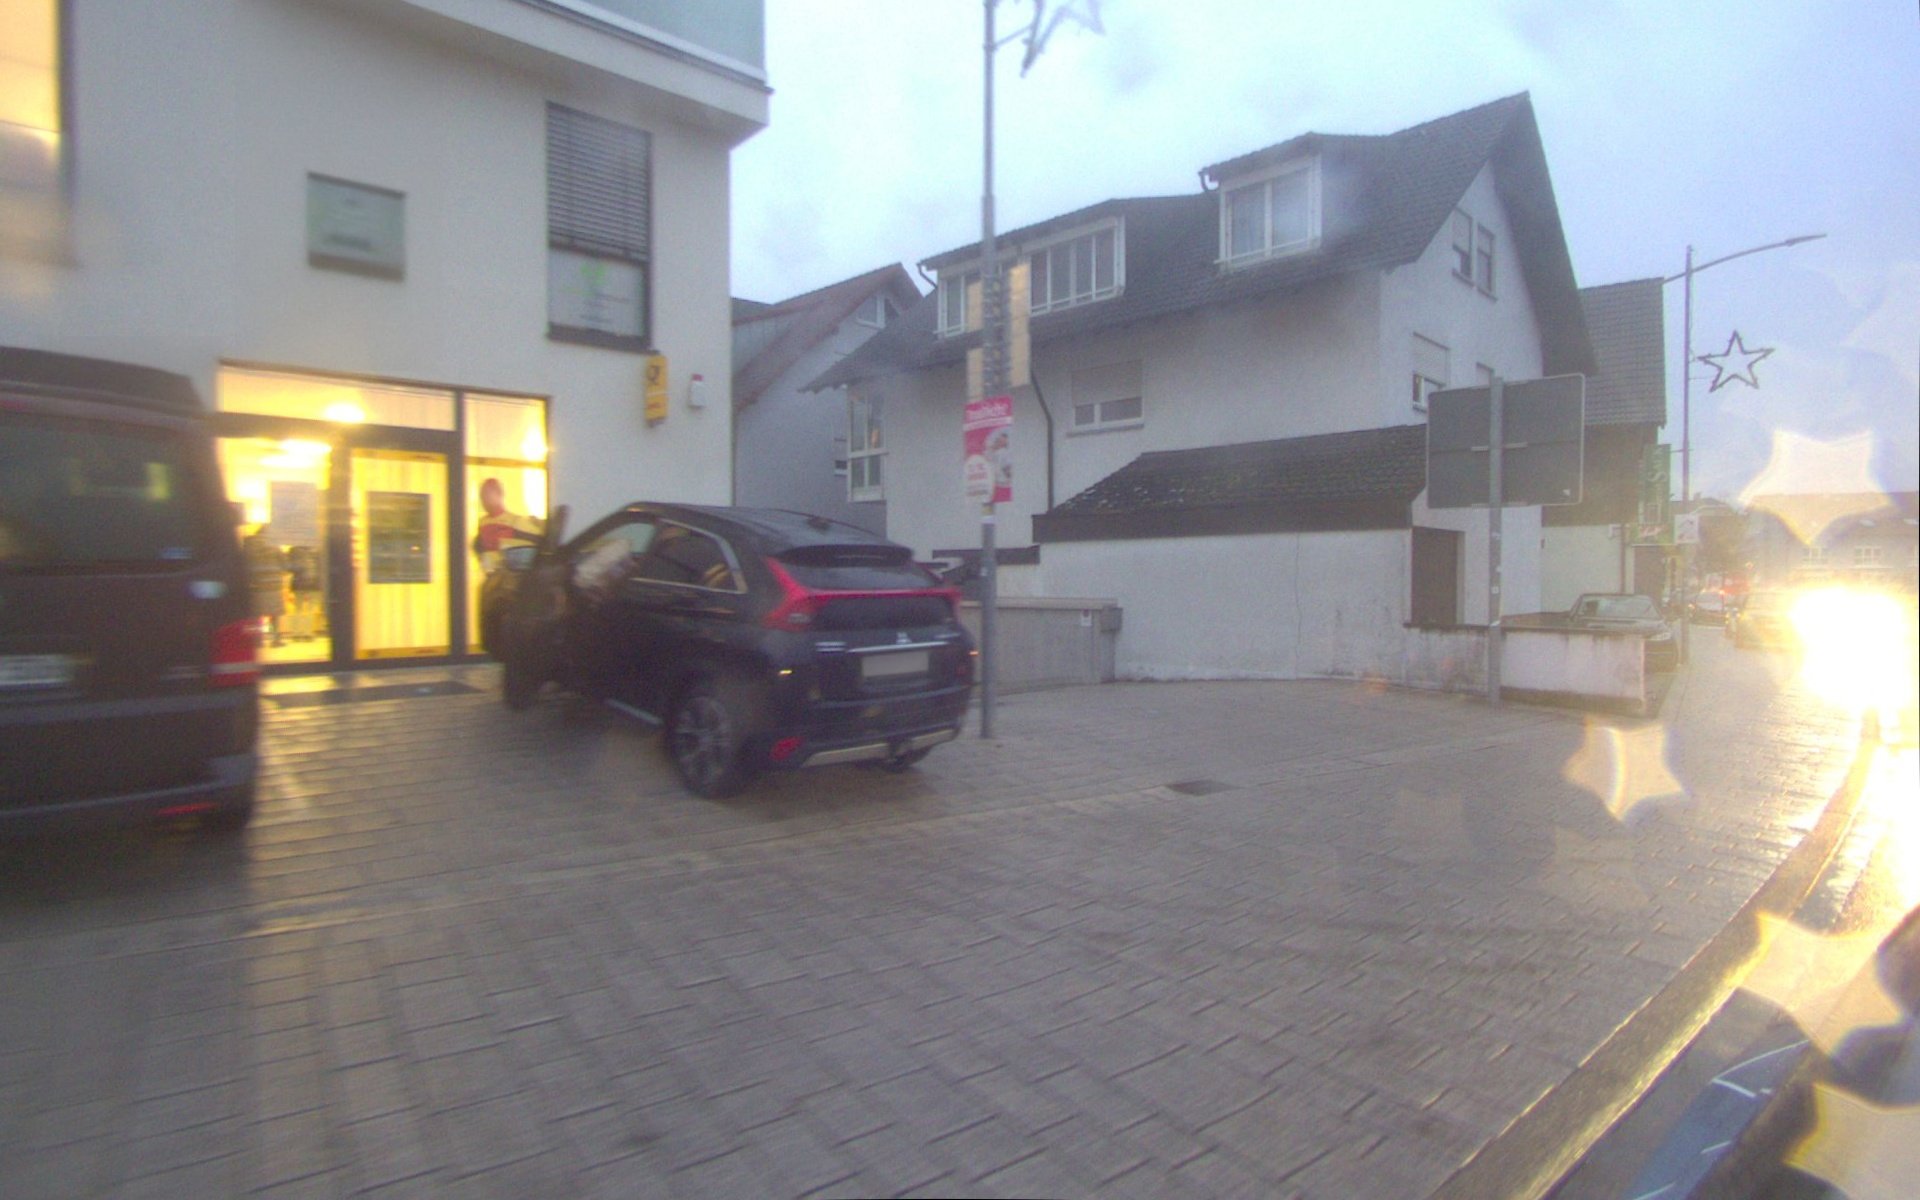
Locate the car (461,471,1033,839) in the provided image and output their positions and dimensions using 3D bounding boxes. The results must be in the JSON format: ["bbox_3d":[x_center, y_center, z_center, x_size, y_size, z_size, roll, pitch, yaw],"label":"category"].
[{"bbox_3d":[-1.732,0.107,7.158,4.179,1.657,1.776,10,7,42],"label":"car"}]

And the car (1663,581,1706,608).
[{"bbox_3d":[44.789,-0.360,62.660,1.655,1.595,4.451,1,2,29],"label":"car"}]

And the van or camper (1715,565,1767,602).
[{"bbox_3d":[59.894,-1.300,77.706,2.229,2.702,6.486,1,1,30],"label":"van or camper"}]

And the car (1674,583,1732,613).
[{"bbox_3d":[41.542,-0.142,56.689,1.945,1.552,4.958,-2,0,29],"label":"car"}]

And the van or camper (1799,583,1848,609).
[{"bbox_3d":[47.860,-0.222,56.135,1.555,1.372,3.383,2,2,32],"label":"van or camper"}]

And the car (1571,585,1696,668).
[{"bbox_3d":[13.393,0.446,20.333,1.756,1.411,3.873,3,3,30],"label":"car"}]

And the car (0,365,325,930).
[{"bbox_3d":[-4.777,-0.078,5.161,1.916,1.942,4.575,-1,7,-41],"label":"car"}]

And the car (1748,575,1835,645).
[{"bbox_3d":[24.211,0.229,29.527,1.767,1.803,3.944,4,3,39],"label":"car"}]

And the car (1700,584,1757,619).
[{"bbox_3d":[36.112,0.022,47.620,1.645,1.472,4.191,3,3,32],"label":"car"}]

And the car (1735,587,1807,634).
[{"bbox_3d":[27.429,0.325,34.283,1.640,1.433,2.693,4,3,35],"label":"car"}]
